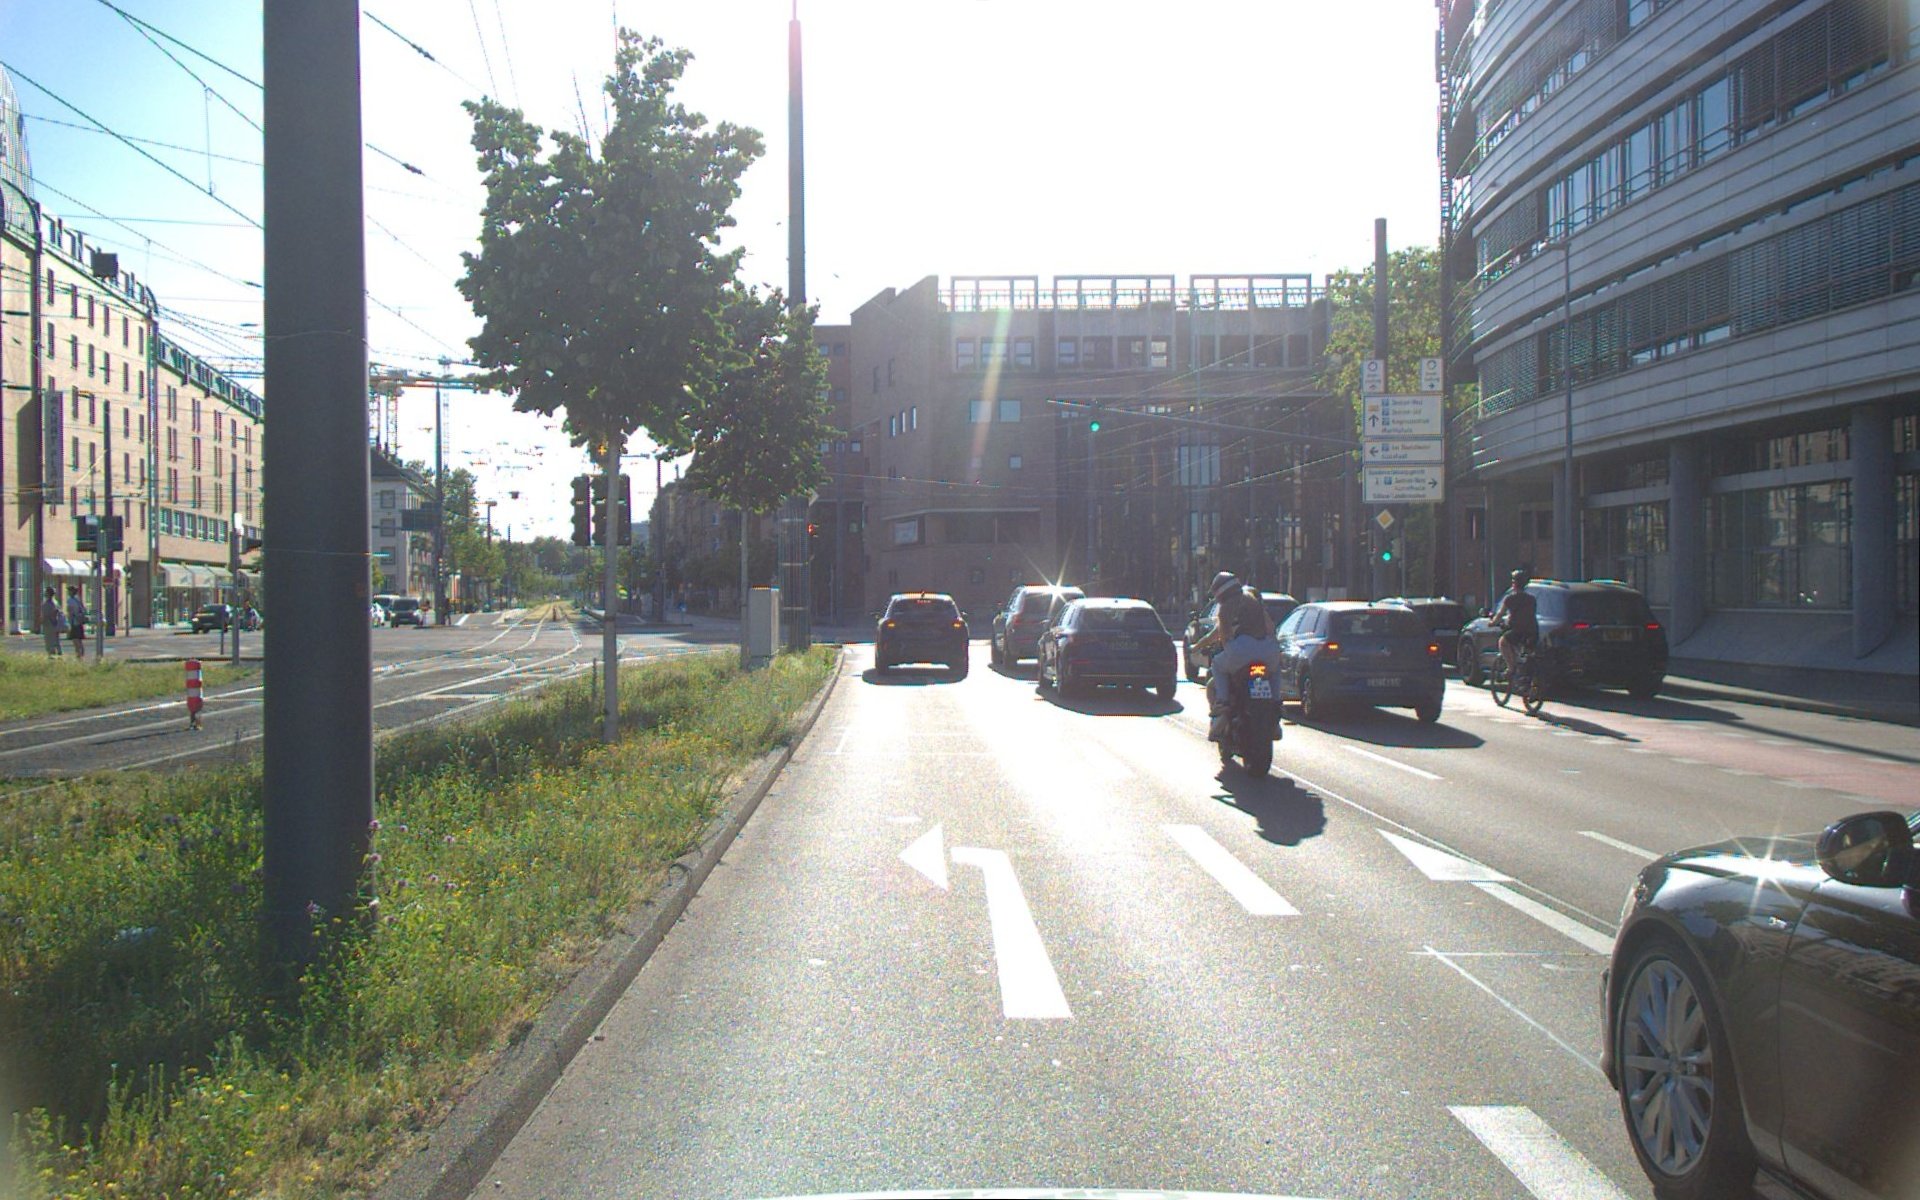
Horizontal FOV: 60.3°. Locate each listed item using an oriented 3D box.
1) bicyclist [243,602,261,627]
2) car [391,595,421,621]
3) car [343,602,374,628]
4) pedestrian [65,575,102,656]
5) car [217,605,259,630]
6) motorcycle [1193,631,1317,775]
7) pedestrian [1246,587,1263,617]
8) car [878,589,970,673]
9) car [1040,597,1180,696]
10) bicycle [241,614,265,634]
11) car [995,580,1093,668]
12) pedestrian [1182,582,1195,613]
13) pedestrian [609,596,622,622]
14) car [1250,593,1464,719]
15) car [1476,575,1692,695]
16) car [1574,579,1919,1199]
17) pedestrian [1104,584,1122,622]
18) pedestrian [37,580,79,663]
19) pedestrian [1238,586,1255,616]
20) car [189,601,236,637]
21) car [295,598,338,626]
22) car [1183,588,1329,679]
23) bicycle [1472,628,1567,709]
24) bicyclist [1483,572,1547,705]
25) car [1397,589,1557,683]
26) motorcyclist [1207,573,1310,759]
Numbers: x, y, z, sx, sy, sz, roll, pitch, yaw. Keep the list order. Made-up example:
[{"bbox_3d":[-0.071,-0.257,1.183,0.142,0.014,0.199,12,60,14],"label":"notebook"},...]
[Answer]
[{"bbox_3d":[-40.487,0.830,94.611,0.743,1.399,0.948,-1,0,-10],"label":"bicyclist"},{"bbox_3d":[-33.948,0.480,101.318,1.719,1.531,3.859,-1,0,-19],"label":"car"},{"bbox_3d":[-36.981,0.918,101.744,1.719,1.531,3.859,-1,0,-19],"label":"car"},{"bbox_3d":[-20.397,0.353,38.480,0.552,1.849,0.661,-1,0,-9],"label":"pedestrian"},{"bbox_3d":[-46.293,1.101,106.107,1.854,1.536,3.983,-1,0,-15],"label":"car"},{"bbox_3d":[2.584,0.873,14.710,0.759,1.135,1.969,-1,0,1],"label":"motorcycle"},{"bbox_3d":[16.694,0.104,93.725,0.881,1.645,0.561,-1,0,6],"label":"pedestrian"},{"bbox_3d":[-0.682,0.538,31.220,1.616,1.458,3.999,0,0,-1],"label":"car"},{"bbox_3d":[2.219,0.653,25.373,1.702,1.373,3.999,0,0,-1],"label":"car"},{"bbox_3d":[-40.597,1.373,95.007,0.638,1.104,2.919,-1,0,-10],"label":"bicycle"},{"bbox_3d":[1.666,0.456,33.823,1.702,1.680,3.999,0,0,-1],"label":"car"},{"bbox_3d":[10.896,-0.135,78.793,0.519,1.455,0.598,-1,0,-3],"label":"pedestrian"},{"bbox_3d":[-22.163,0.556,106.371,0.730,1.669,0.764,-1,0,-16],"label":"pedestrian"},{"bbox_3d":[5.122,0.664,21.871,1.771,1.482,3.999,1,0,-1],"label":"car"},{"bbox_3d":[10.038,0.511,26.996,1.952,1.780,4.329,-1,0,1],"label":"car"},{"bbox_3d":[2.728,0.750,2.625,1.774,1.518,4.495,2,0,-1],"label":"car"},{"bbox_3d":[7.433,0.145,80.271,0.692,1.789,0.560,-1,0,23],"label":"pedestrian"},{"bbox_3d":[-20.390,0.482,37.397,0.620,1.862,0.661,-1,0,-9],"label":"pedestrian"},{"bbox_3d":[16.005,0.037,92.534,0.881,1.645,0.561,-1,0,6],"label":"pedestrian"},{"bbox_3d":[-44.569,1.115,98.690,1.961,2.049,3.983,-1,0,-15],"label":"car"},{"bbox_3d":[-39.600,0.729,101.827,1.961,1.624,4.719,-1,1,-15],"label":"car"},{"bbox_3d":[5.141,0.536,29.211,1.771,1.482,3.999,1,0,-1],"label":"car"},{"bbox_3d":[7.799,0.934,23.148,0.482,1.015,2.327,-1,0,-1],"label":"bicycle"},{"bbox_3d":[7.779,0.528,23.195,0.565,1.822,0.863,-1,0,-3],"label":"bicyclist"},{"bbox_3d":[9.886,0.645,31.928,1.952,1.680,4.001,0,0,2],"label":"car"},{"bbox_3d":[2.589,0.549,14.429,0.729,1.557,1.021,-1,0,2],"label":"motorcyclist"}]
